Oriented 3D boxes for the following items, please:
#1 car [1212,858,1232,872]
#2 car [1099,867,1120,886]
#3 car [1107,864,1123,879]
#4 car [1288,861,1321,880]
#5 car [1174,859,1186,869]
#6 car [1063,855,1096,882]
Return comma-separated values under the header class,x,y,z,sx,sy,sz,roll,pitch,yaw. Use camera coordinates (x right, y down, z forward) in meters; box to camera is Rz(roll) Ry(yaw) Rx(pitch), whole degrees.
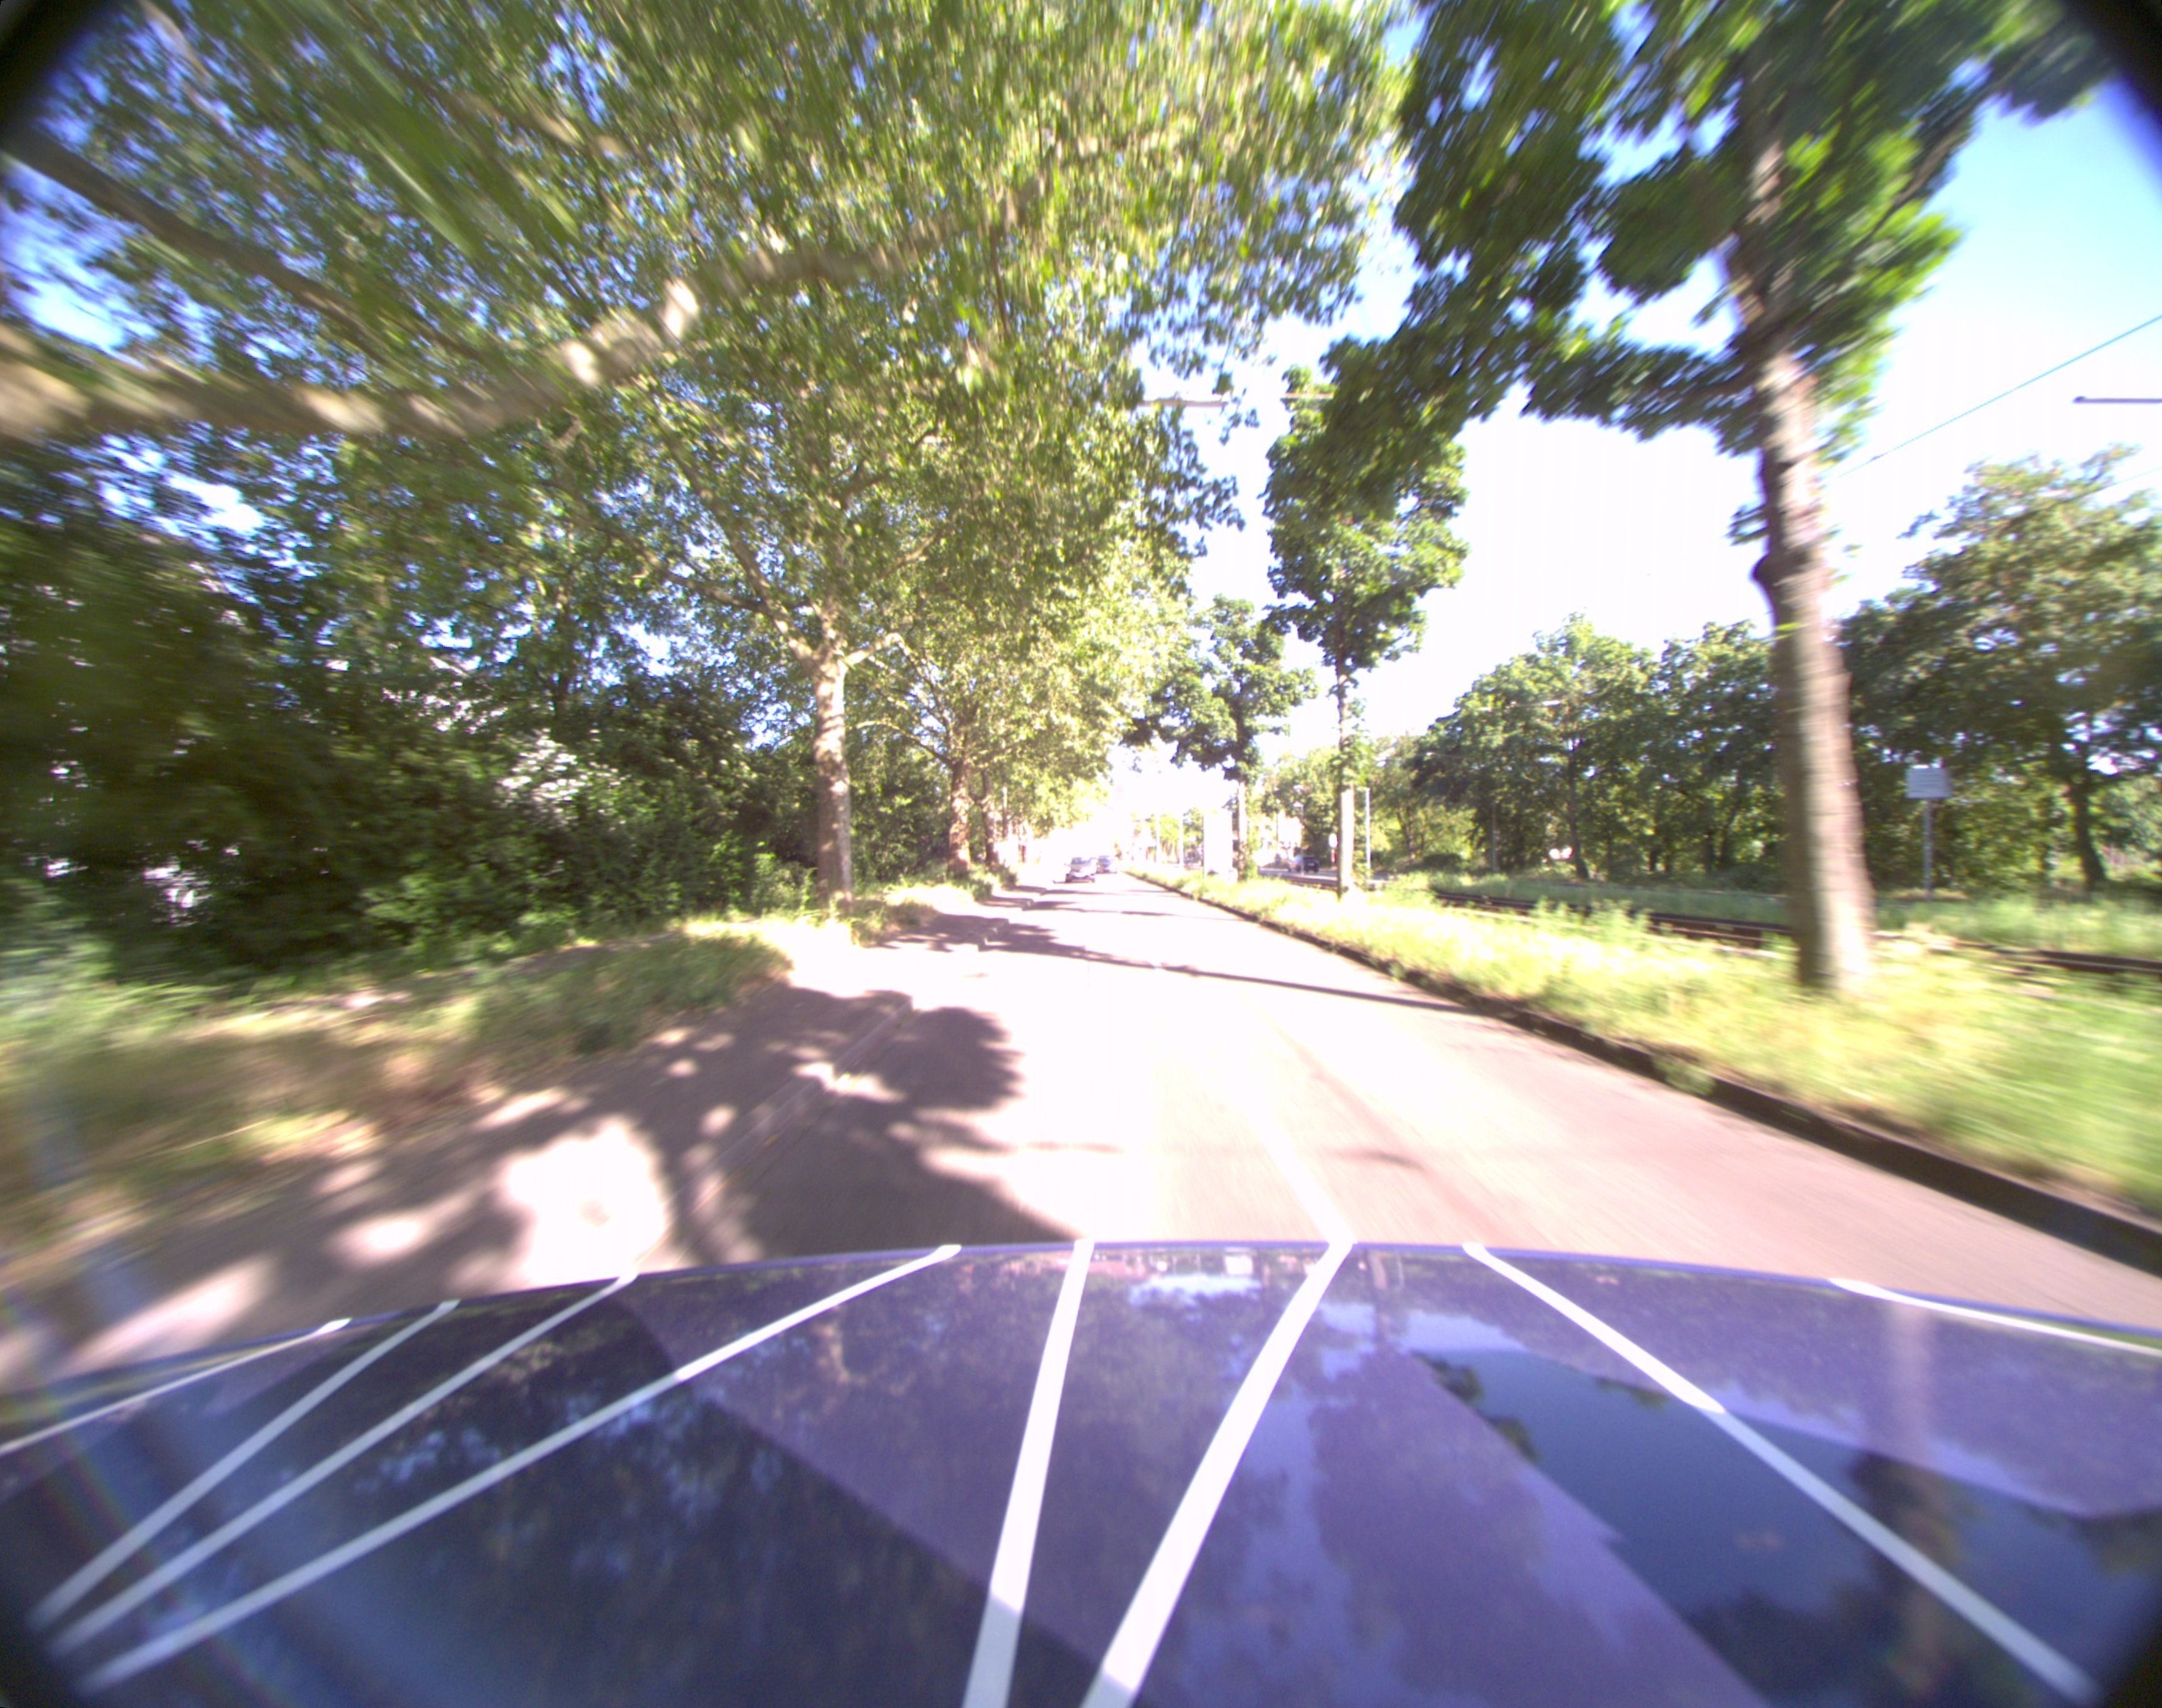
class,x,y,z,sx,sy,sz,roll,pitch,yaw
car,16.089,1.225,86.989,1.613,1.548,3.673,-2,0,1
car,2.391,1.924,64.969,1.714,1.477,3.547,-2,0,1
car,3.657,1.894,81.868,1.590,1.477,3.547,-2,0,1
car,19.603,1.445,66.860,1.640,1.486,4.592,2,0,2
car,17.840,1.806,136.949,1.613,1.548,3.673,-2,0,1
car,-0.117,0.818,45.032,1.808,1.477,3.546,-2,0,0
